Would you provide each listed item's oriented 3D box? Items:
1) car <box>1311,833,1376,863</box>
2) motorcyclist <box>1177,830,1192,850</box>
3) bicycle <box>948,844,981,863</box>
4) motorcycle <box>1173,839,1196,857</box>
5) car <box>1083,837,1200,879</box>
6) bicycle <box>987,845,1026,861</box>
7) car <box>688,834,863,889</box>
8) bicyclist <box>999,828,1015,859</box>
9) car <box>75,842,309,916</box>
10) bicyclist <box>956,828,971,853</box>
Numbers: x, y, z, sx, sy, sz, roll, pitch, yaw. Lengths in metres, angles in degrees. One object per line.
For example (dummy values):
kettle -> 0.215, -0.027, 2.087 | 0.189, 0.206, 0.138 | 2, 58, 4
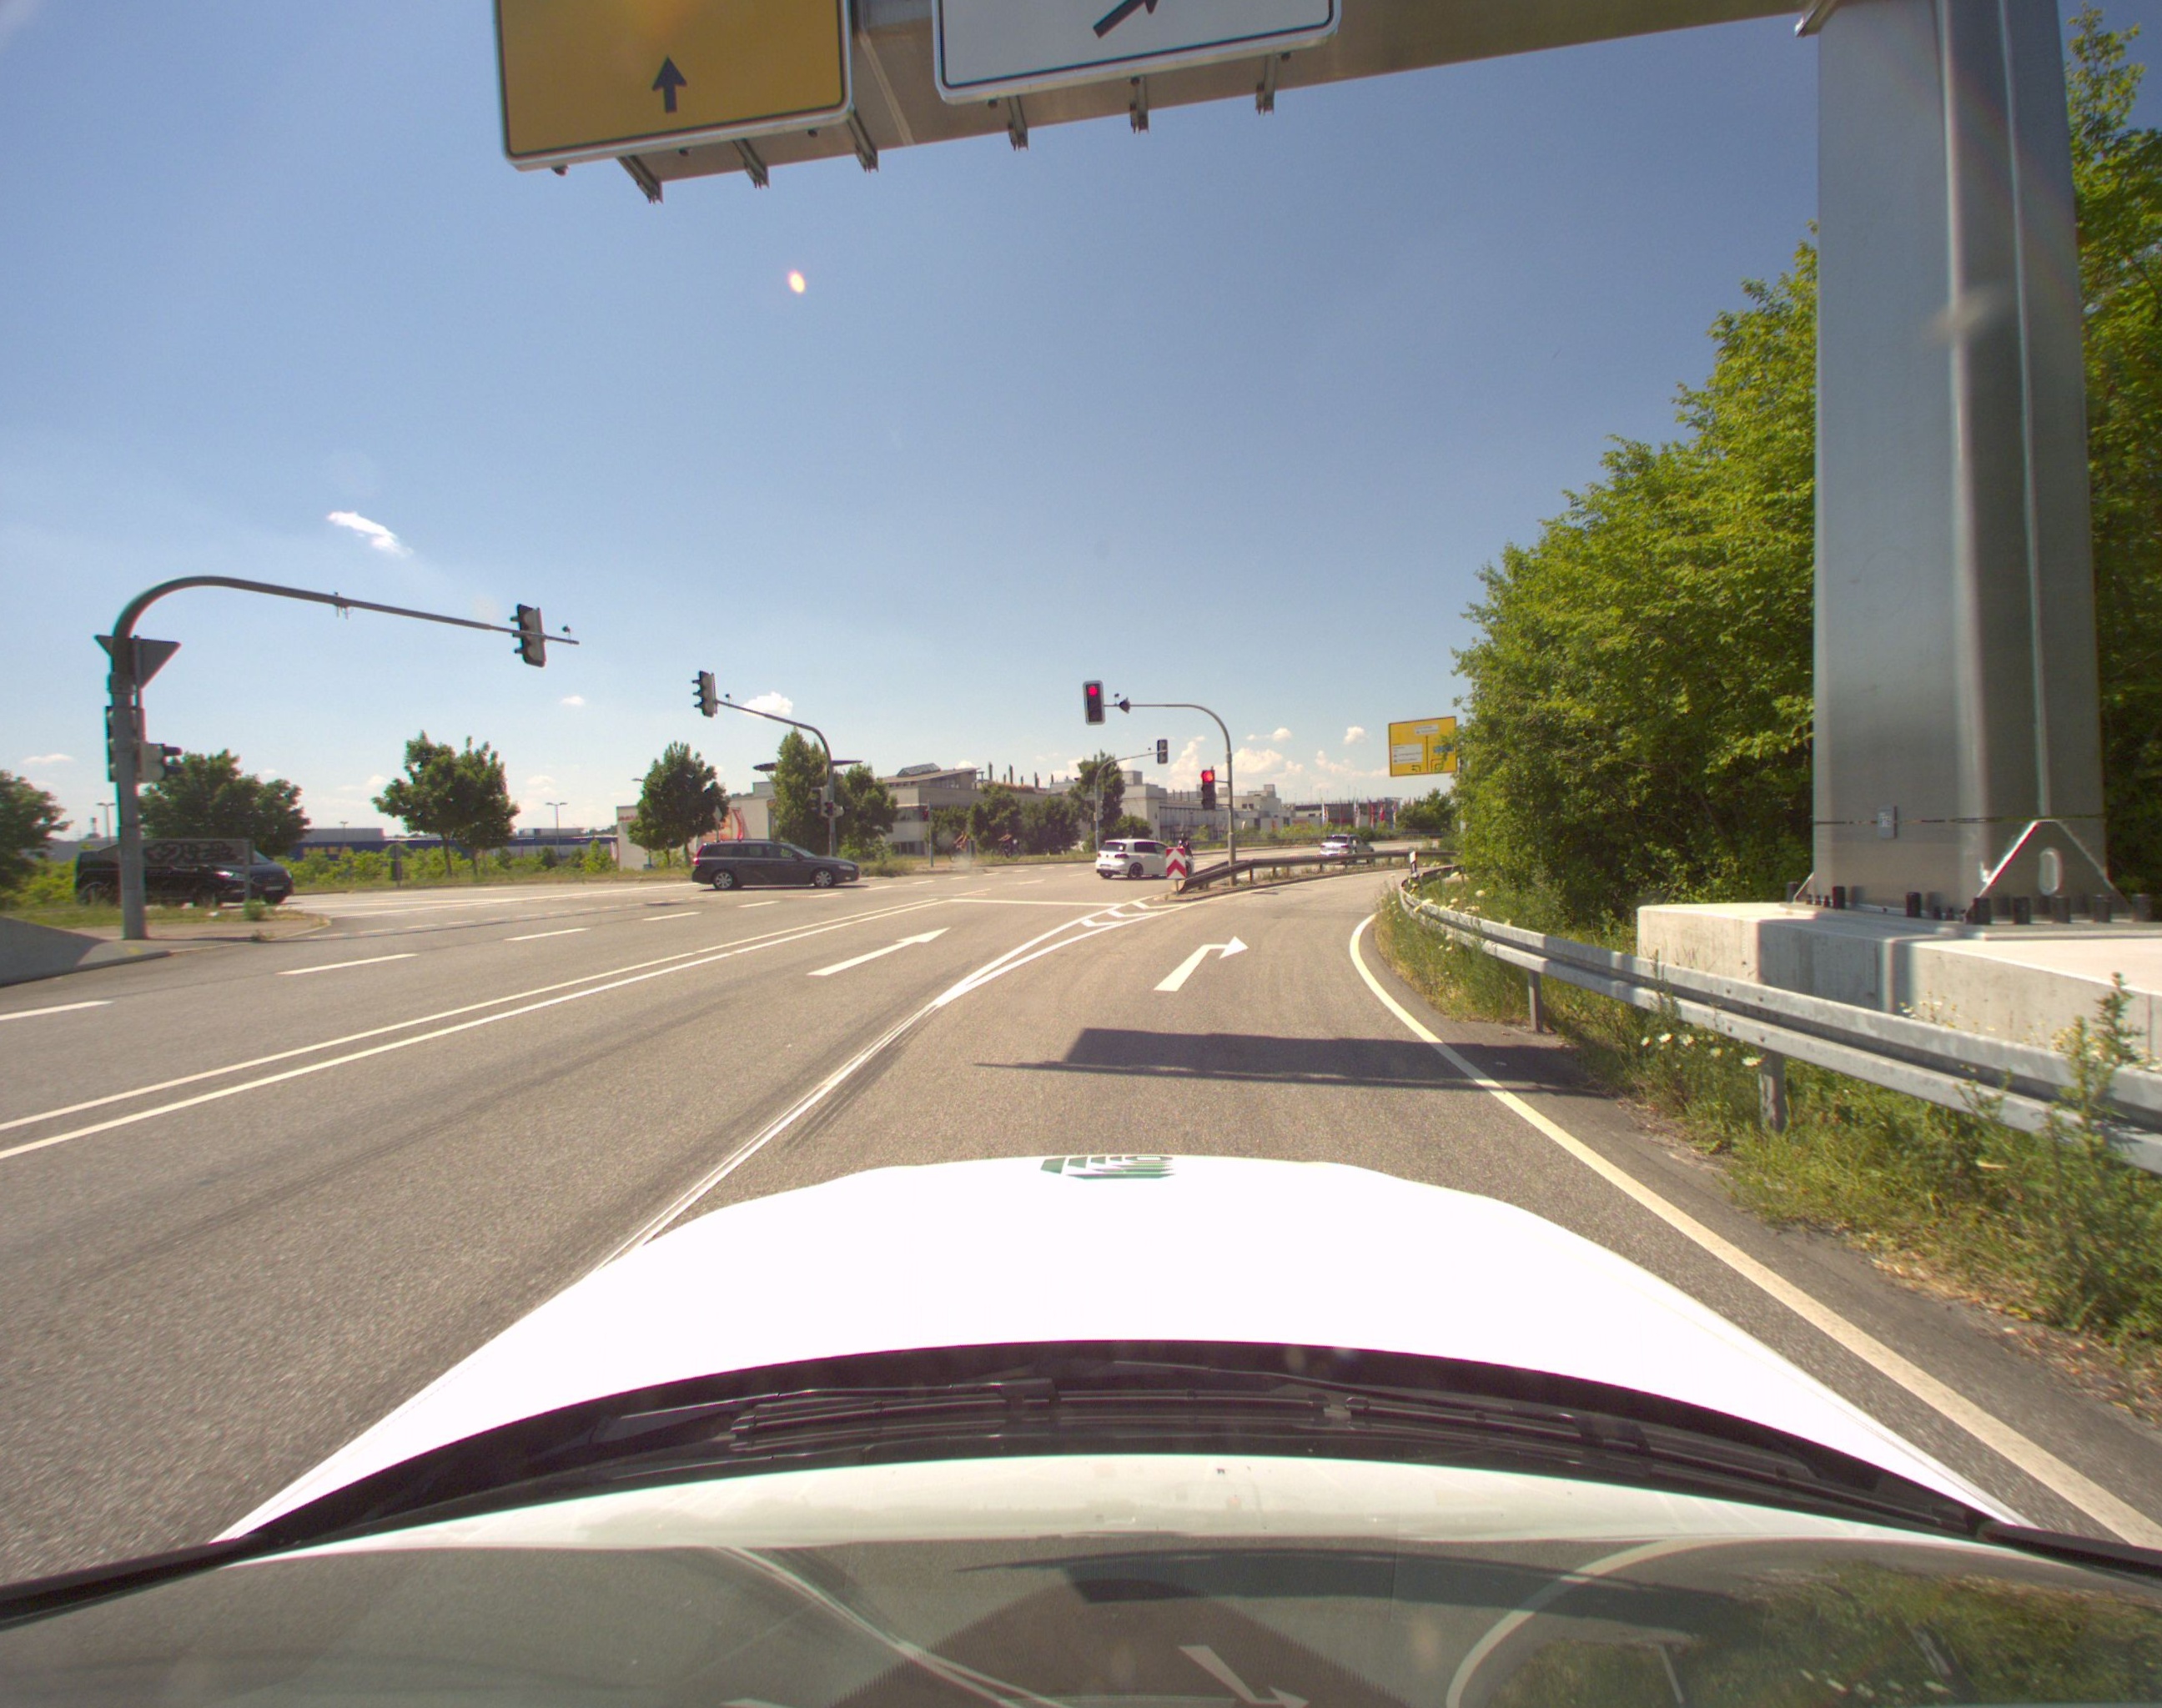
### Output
car -> 14.647, -0.364, 45.232 | 1.974, 1.505, 4.424 | -2, 0, 38
motorcyclist -> 6.643, -0.895, 52.081 | 0.668, 1.303, 0.728 | -2, 0, 30
bicycle -> -6.410, -0.029, 44.796 | 1.842, 1.024, 0.410 | -1, 2, -41
motorcycle -> 6.647, -0.375, 52.047 | 0.557, 1.080, 2.299 | -1, 0, 31
car -> 2.328, 0.101, 30.825 | 4.155, 1.486, 1.977 | -1, 1, -38
bicycle -> -4.192, -0.069, 45.968 | 2.133, 0.852, 0.530 | 0, 2, -30
car -> -9.151, 0.203, 24.806 | 4.719, 1.545, 1.731 | -1, 0, -11
bicyclist -> -4.194, -0.580, 45.949 | 0.733, 1.717, 0.526 | 0, 2, -30
car -> -27.374, 0.746, 25.175 | 5.362, 1.937, 2.131 | -2, 1, 8
bicyclist -> -6.448, -0.737, 44.767 | 0.688, 1.404, 0.404 | 0, 1, -39
